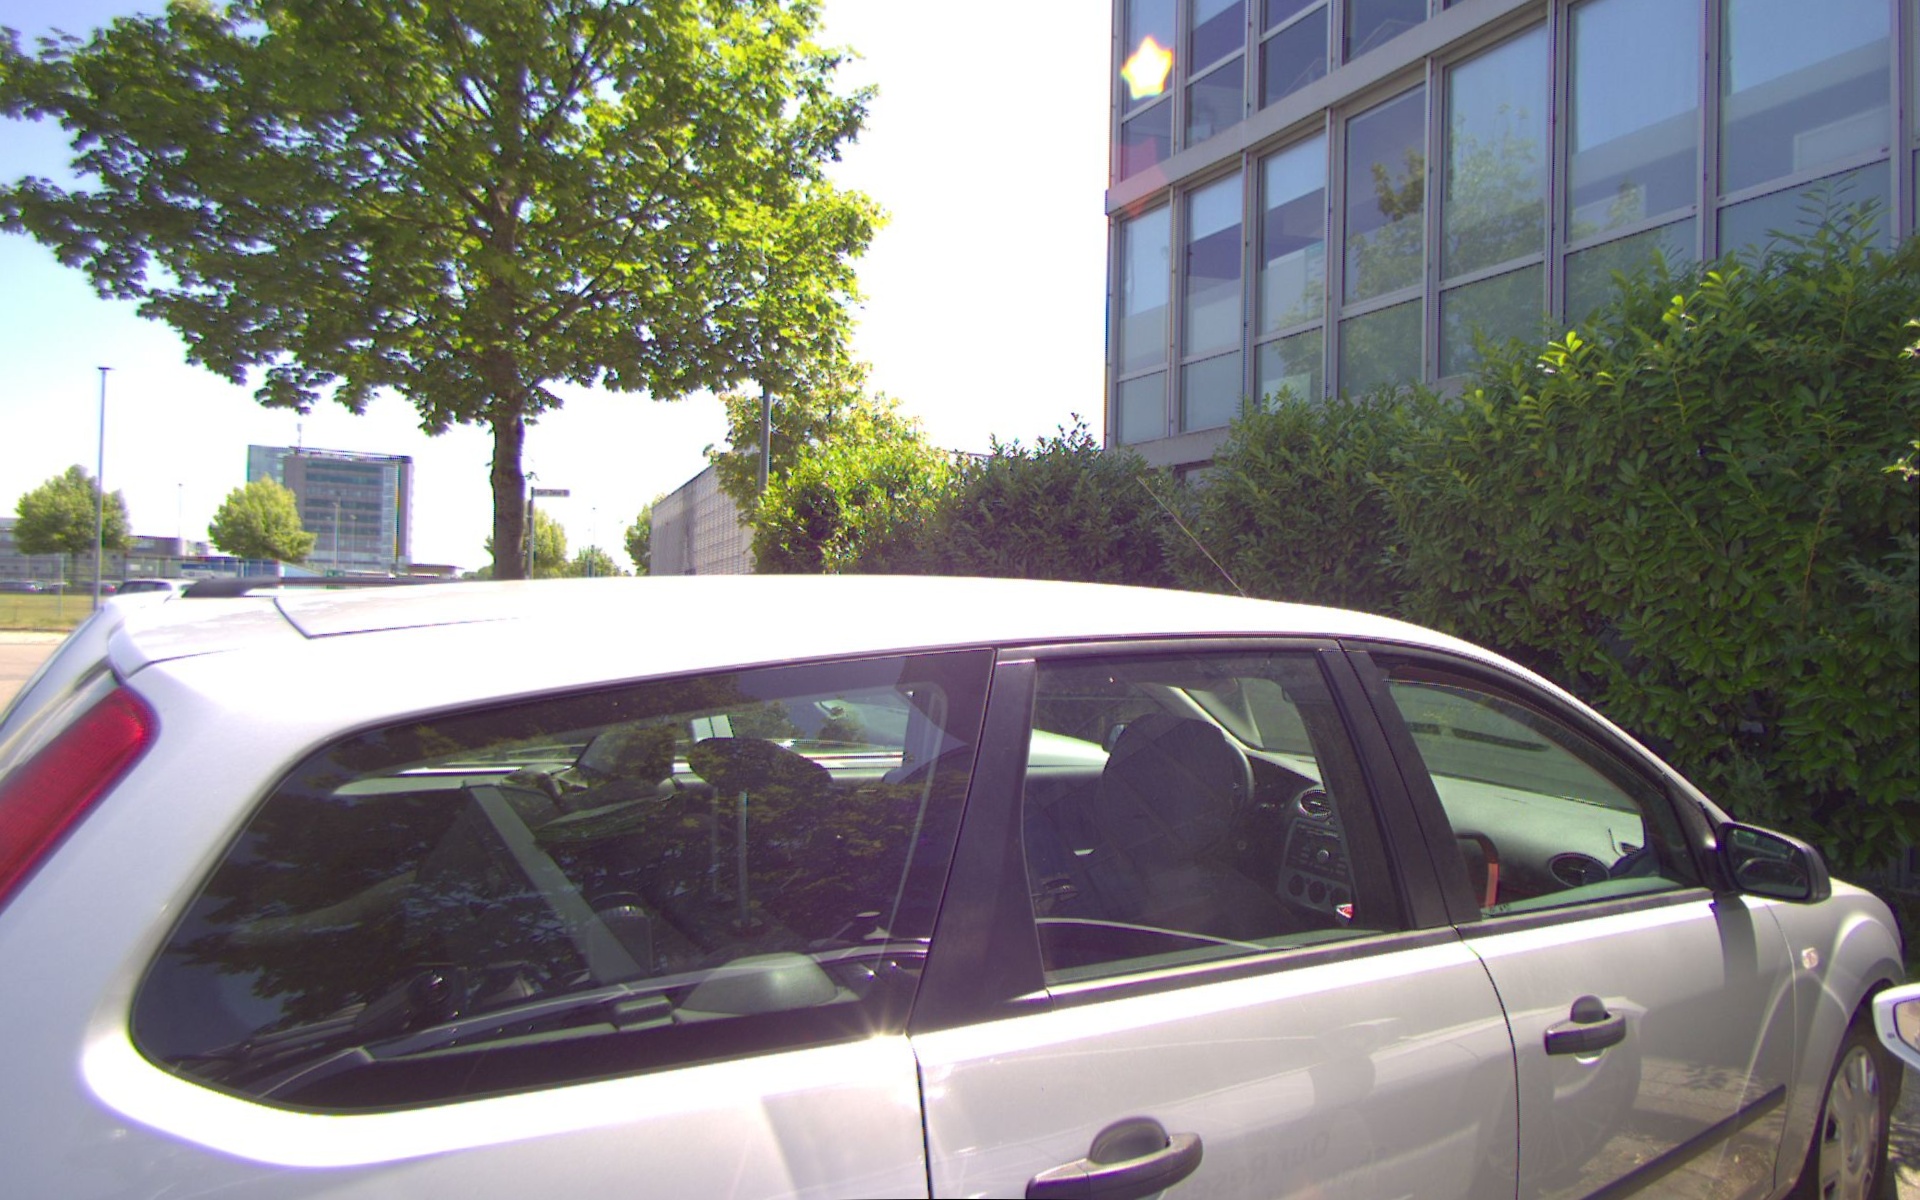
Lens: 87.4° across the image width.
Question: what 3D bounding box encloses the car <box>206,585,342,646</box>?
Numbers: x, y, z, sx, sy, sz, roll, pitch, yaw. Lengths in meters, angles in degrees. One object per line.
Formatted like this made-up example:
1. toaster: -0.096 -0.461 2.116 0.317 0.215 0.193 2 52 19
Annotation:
1. car: -18.704 0.399 27.604 1.624 1.542 3.991 1 0 -11

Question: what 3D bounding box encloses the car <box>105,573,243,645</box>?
1. car: -21.125 0.230 27.189 1.745 1.761 3.982 1 0 -20

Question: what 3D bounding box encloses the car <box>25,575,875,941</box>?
1. car: -2.580 0.666 5.786 3.851 1.468 1.637 1 0 -34

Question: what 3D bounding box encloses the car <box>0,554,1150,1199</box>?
1. car: -1.273 0.674 3.729 3.851 1.499 1.637 1 0 -34

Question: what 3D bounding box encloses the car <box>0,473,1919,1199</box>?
1. car: 0.376 0.707 2.111 4.299 1.499 1.710 1 0 -31

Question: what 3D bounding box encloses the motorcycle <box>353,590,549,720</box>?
1. motorcycle: -5.839 0.605 11.587 1.969 1.408 0.480 1 0 -34
